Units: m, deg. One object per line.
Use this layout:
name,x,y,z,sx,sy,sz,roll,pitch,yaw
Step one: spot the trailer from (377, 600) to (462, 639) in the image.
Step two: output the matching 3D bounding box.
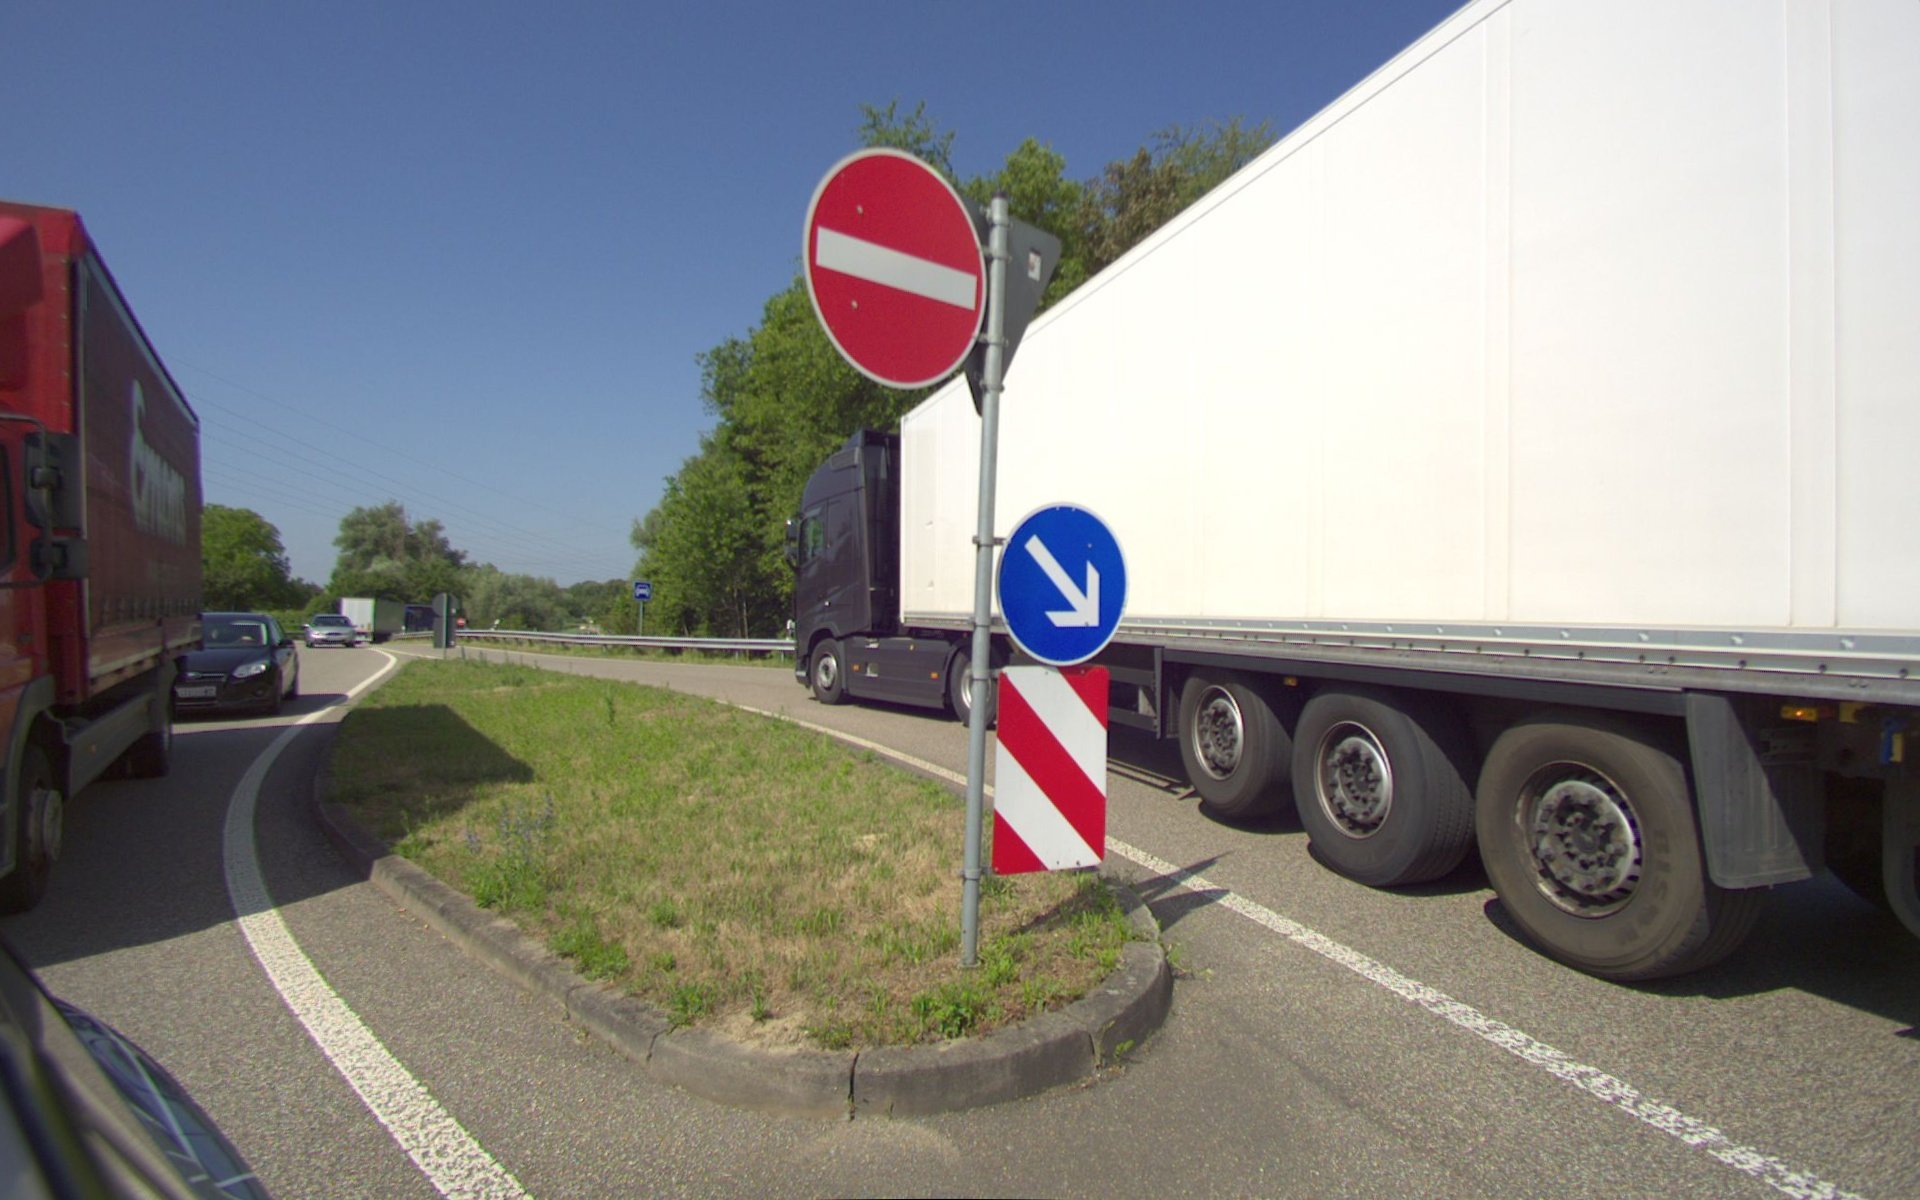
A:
trailer,-63.638,2.430,119.735,2.888,4.272,13.985,1,-2,-2

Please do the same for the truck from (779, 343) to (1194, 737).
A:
truck,0.005,-0.587,14.063,2.831,4.205,5.987,0,-1,-33

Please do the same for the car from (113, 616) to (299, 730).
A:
car,-10.957,0.961,14.975,1.758,1.425,4.012,0,-1,-30

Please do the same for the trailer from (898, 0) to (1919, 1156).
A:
trailer,2.462,-0.613,7.925,2.847,4.197,14.022,-1,0,-16

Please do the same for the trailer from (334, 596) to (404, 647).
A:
trailer,-54.231,2.002,93.293,2.908,4.300,14.025,2,-2,-20

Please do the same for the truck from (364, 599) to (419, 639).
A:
truck,-63.369,2.192,112.989,2.898,4.270,5.735,1,-2,-2

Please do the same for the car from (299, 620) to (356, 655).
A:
car,-26.912,1.555,43.017,1.759,1.396,4.388,0,-1,-36

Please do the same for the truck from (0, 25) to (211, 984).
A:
truck,-7.265,-0.309,7.096,2.646,3.689,9.288,0,-1,-33

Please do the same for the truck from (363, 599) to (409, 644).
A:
truck,-56.372,2.163,99.511,2.890,4.279,5.751,2,-2,-20
